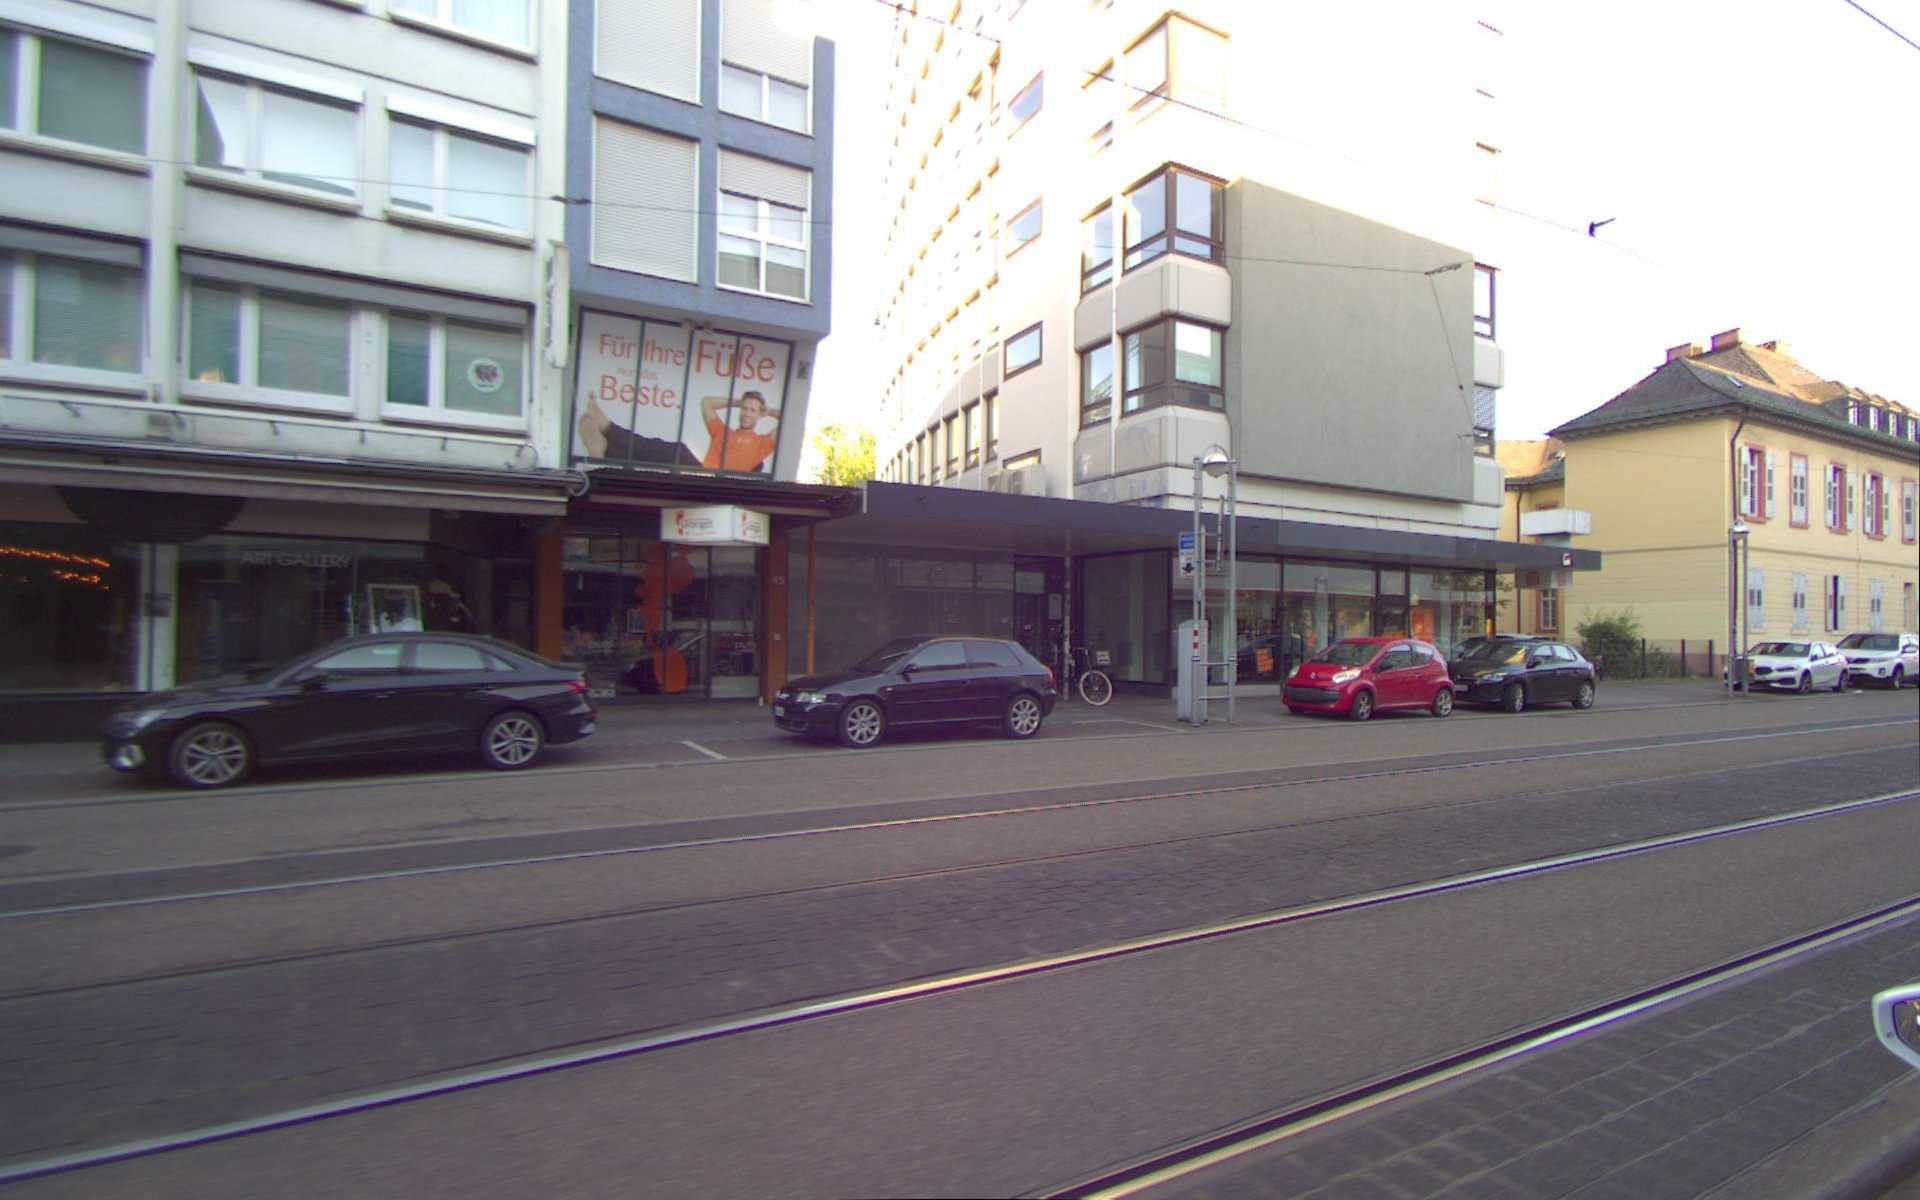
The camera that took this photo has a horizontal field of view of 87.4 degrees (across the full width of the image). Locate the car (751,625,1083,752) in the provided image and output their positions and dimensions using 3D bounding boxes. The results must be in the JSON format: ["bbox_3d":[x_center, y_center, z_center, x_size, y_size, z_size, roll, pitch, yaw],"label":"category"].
[{"bbox_3d":[-0.545,1.152,14.155,4.392,1.532,1.678,1,-1,-29],"label":"car"}]

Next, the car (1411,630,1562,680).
[{"bbox_3d":[16.737,1.716,32.136,1.823,1.486,3.972,1,-2,-28],"label":"car"}]

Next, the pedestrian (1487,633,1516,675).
[{"bbox_3d":[21.207,2.104,39.337,0.668,1.593,0.741,1,-2,-31],"label":"pedestrian"}]

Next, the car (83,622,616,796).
[{"bbox_3d":[-6.255,1.023,10.839,4.507,1.485,1.983,1,-1,-32],"label":"car"}]

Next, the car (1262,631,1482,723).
[{"bbox_3d":[7.886,1.400,19.141,4.165,1.532,1.677,1,0,-30],"label":"car"}]

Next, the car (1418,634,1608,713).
[{"bbox_3d":[11.895,1.513,21.543,4.165,1.532,1.678,1,-1,-30],"label":"car"}]

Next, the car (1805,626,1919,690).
[{"bbox_3d":[28.772,1.804,31.561,4.440,1.809,1.805,2,1,-28],"label":"car"}]

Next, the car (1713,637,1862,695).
[{"bbox_3d":[23.710,1.850,28.763,4.378,1.532,1.805,1,-2,-29],"label":"car"}]

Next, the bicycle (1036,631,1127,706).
[{"bbox_3d":[2.450,1.363,20.459,0.825,1.444,1.958,1,-2,-31],"label":"bicycle"}]

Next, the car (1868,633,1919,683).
[{"bbox_3d":[33.520,1.990,34.811,4.163,1.638,1.805,1,-2,-29],"label":"car"}]
